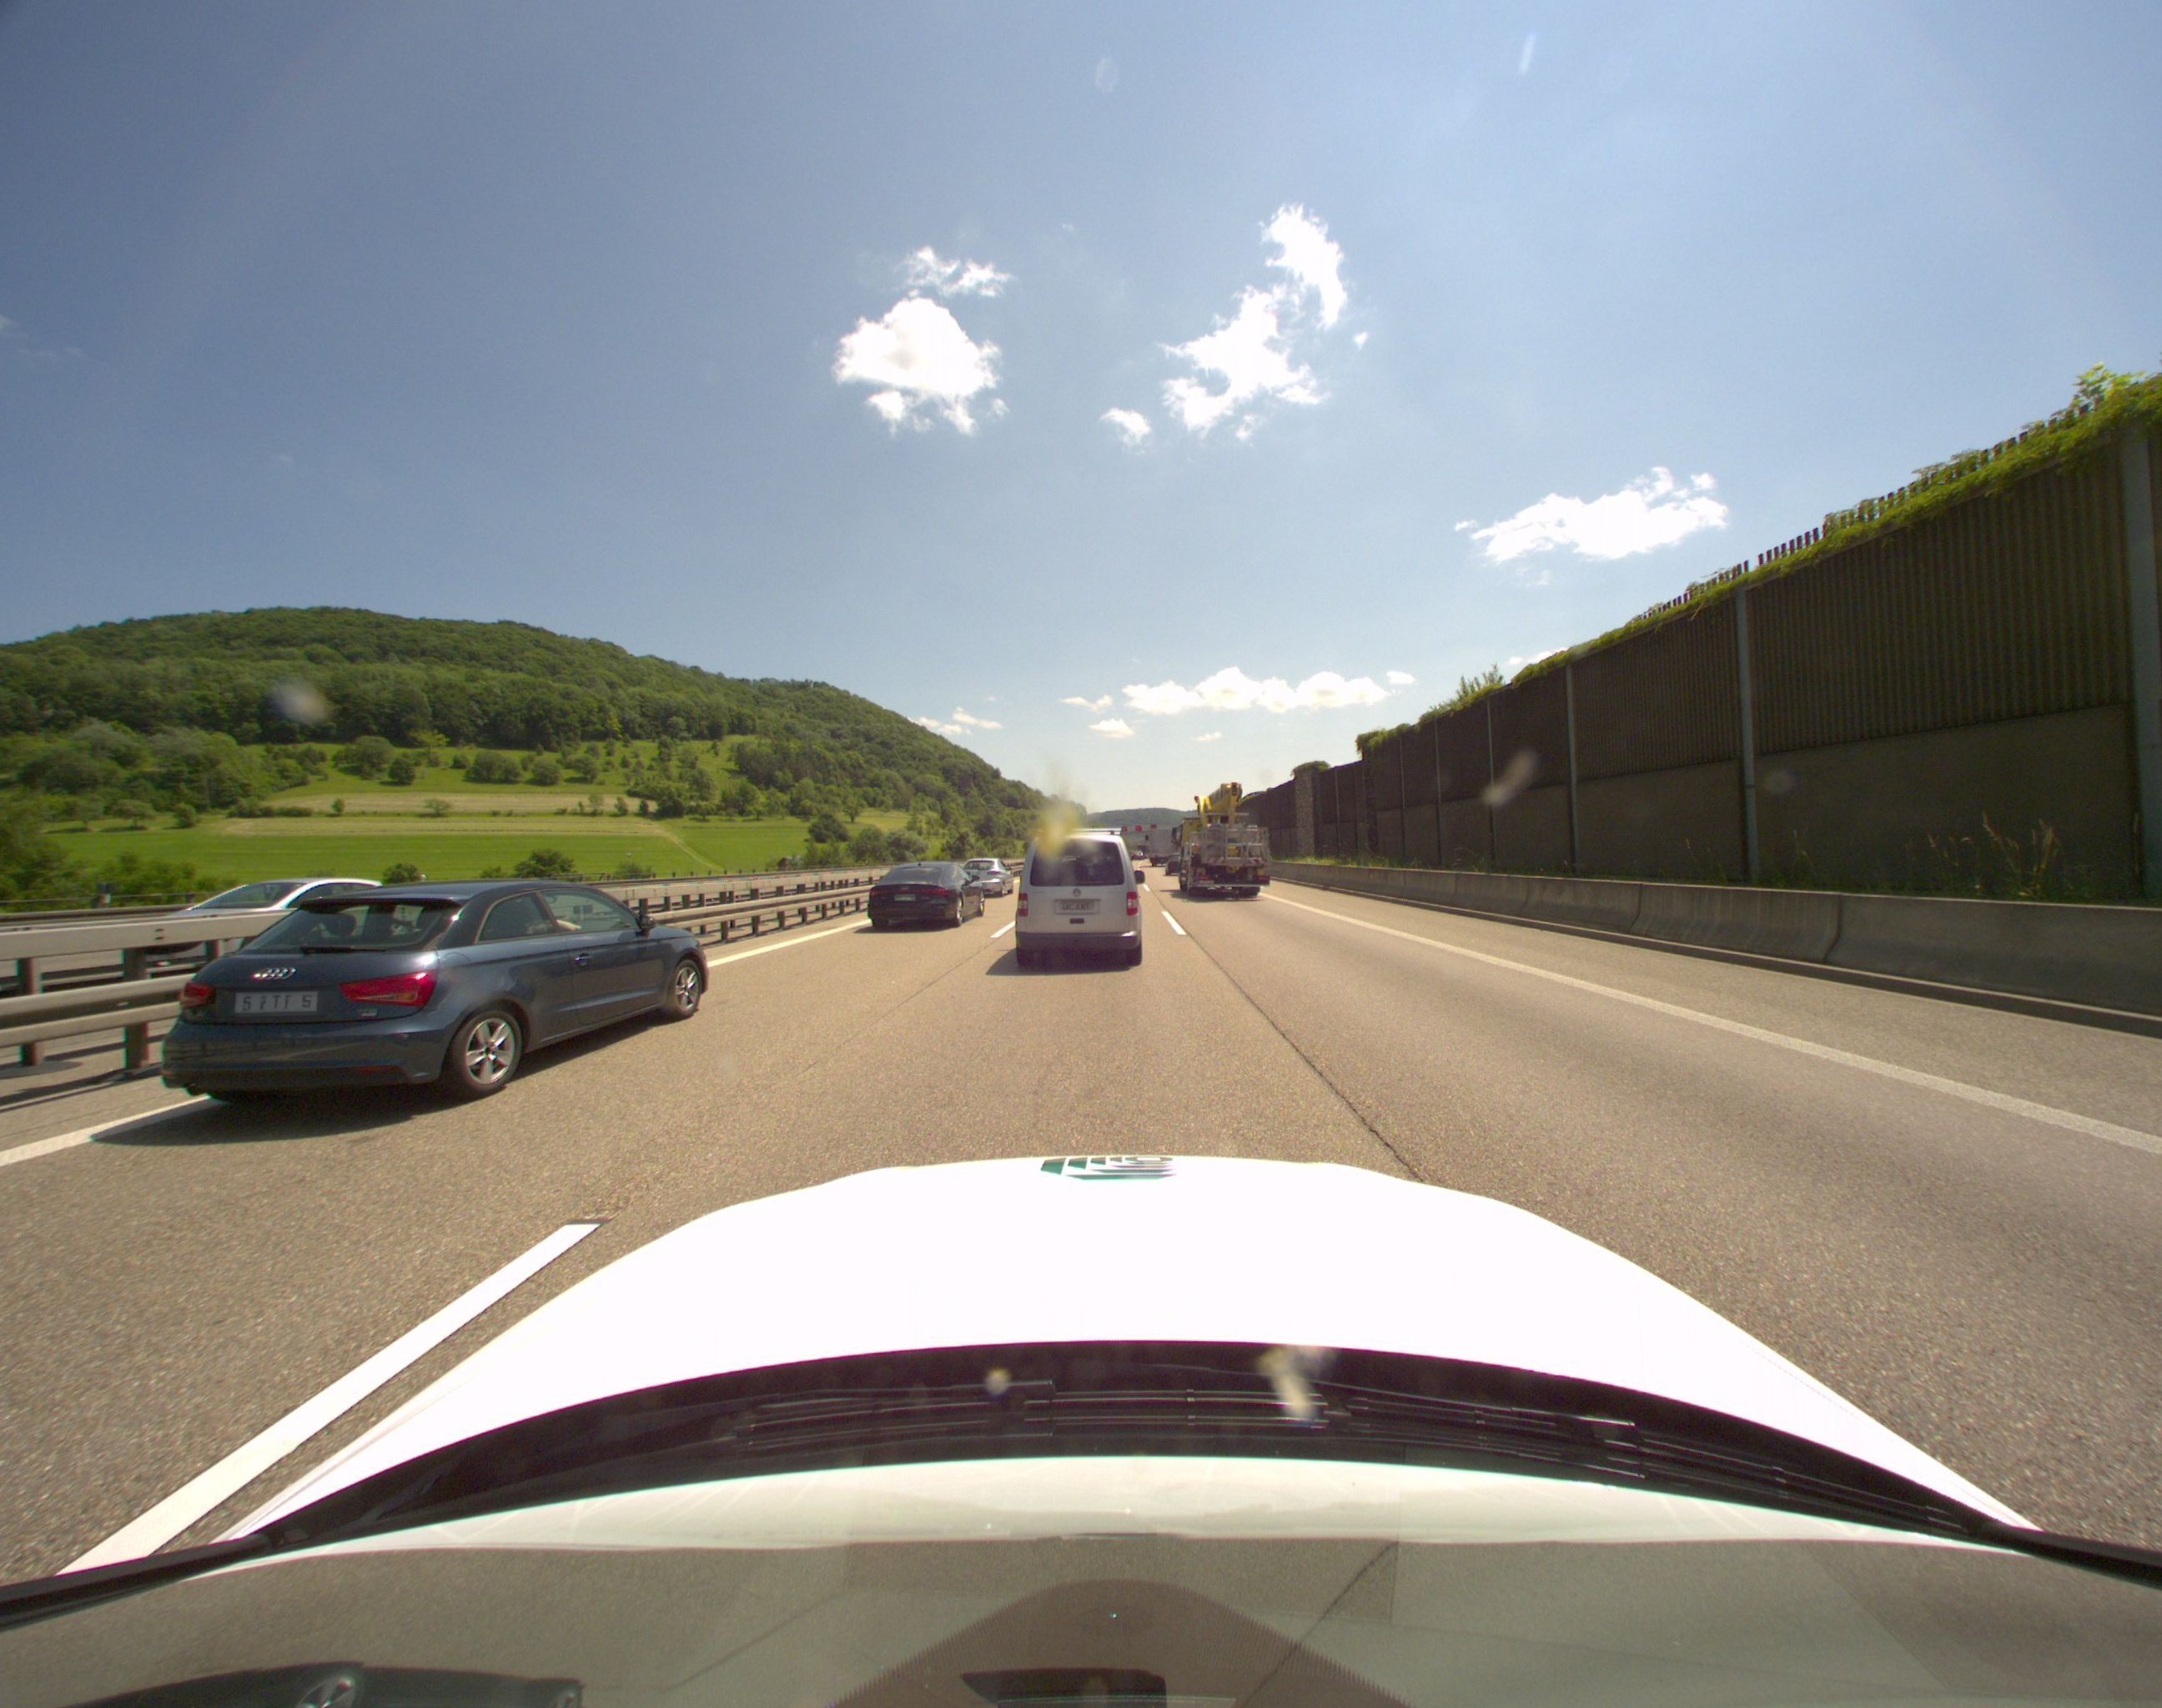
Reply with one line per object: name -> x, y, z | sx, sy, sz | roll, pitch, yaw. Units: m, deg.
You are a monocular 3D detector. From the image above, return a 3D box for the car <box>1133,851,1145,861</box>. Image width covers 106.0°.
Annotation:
car -> 11.341, 0.449, 159.763 | 2.108, 1.827, 3.997 | -1, -1, -1

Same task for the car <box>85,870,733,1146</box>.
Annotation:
car -> -4.542, 0.885, 6.458 | 1.682, 1.388, 4.002 | -2, 0, 2

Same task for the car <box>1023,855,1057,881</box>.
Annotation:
car -> -2.482, 0.814, 50.031 | 1.919, 1.499, 3.998 | -1, 0, -1

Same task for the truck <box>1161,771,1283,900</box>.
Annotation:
truck -> 4.834, -0.577, 29.745 | 2.696, 3.942, 8.717 | -1, 0, -1

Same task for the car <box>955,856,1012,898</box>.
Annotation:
car -> -3.604, 0.816, 30.734 | 1.691, 1.445, 3.860 | -2, 0, -1

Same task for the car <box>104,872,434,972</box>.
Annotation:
car -> -14.569, 1.125, 15.008 | 1.986, 1.497, 4.001 | -1, 0, 2

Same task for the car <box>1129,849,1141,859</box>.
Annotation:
car -> 9.534, -0.013, 144.580 | 1.986, 1.749, 4.002 | -1, -1, 2

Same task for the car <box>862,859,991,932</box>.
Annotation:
car -> -3.393, 0.848, 18.899 | 1.793, 1.390, 4.972 | -2, 0, 2

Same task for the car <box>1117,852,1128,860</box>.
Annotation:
car -> 9.295, 0.474, 183.536 | 2.108, 1.827, 3.997 | -1, -1, -1

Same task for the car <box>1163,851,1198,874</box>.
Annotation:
car -> 6.550, 0.532, 53.986 | 1.781, 1.458, 3.769 | -2, 0, -1

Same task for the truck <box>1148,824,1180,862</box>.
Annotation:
truck -> 8.657, -1.047, 86.091 | 2.928, 3.823, 8.242 | -1, -1, 3

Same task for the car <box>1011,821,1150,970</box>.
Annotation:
car -> -0.037, 0.535, 12.476 | 1.751, 1.868, 3.998 | -2, 0, -1

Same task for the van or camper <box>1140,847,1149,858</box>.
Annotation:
van or camper -> 16.566, -0.412, 211.582 | 1.986, 2.953, 5.425 | -1, -1, 2

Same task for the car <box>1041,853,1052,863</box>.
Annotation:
car -> -7.176, 0.875, 171.906 | 1.986, 2.013, 4.002 | -1, 0, 2

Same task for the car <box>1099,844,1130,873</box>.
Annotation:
car -> 2.388, 0.307, 59.498 | 1.988, 1.975, 3.998 | -2, 0, -1
